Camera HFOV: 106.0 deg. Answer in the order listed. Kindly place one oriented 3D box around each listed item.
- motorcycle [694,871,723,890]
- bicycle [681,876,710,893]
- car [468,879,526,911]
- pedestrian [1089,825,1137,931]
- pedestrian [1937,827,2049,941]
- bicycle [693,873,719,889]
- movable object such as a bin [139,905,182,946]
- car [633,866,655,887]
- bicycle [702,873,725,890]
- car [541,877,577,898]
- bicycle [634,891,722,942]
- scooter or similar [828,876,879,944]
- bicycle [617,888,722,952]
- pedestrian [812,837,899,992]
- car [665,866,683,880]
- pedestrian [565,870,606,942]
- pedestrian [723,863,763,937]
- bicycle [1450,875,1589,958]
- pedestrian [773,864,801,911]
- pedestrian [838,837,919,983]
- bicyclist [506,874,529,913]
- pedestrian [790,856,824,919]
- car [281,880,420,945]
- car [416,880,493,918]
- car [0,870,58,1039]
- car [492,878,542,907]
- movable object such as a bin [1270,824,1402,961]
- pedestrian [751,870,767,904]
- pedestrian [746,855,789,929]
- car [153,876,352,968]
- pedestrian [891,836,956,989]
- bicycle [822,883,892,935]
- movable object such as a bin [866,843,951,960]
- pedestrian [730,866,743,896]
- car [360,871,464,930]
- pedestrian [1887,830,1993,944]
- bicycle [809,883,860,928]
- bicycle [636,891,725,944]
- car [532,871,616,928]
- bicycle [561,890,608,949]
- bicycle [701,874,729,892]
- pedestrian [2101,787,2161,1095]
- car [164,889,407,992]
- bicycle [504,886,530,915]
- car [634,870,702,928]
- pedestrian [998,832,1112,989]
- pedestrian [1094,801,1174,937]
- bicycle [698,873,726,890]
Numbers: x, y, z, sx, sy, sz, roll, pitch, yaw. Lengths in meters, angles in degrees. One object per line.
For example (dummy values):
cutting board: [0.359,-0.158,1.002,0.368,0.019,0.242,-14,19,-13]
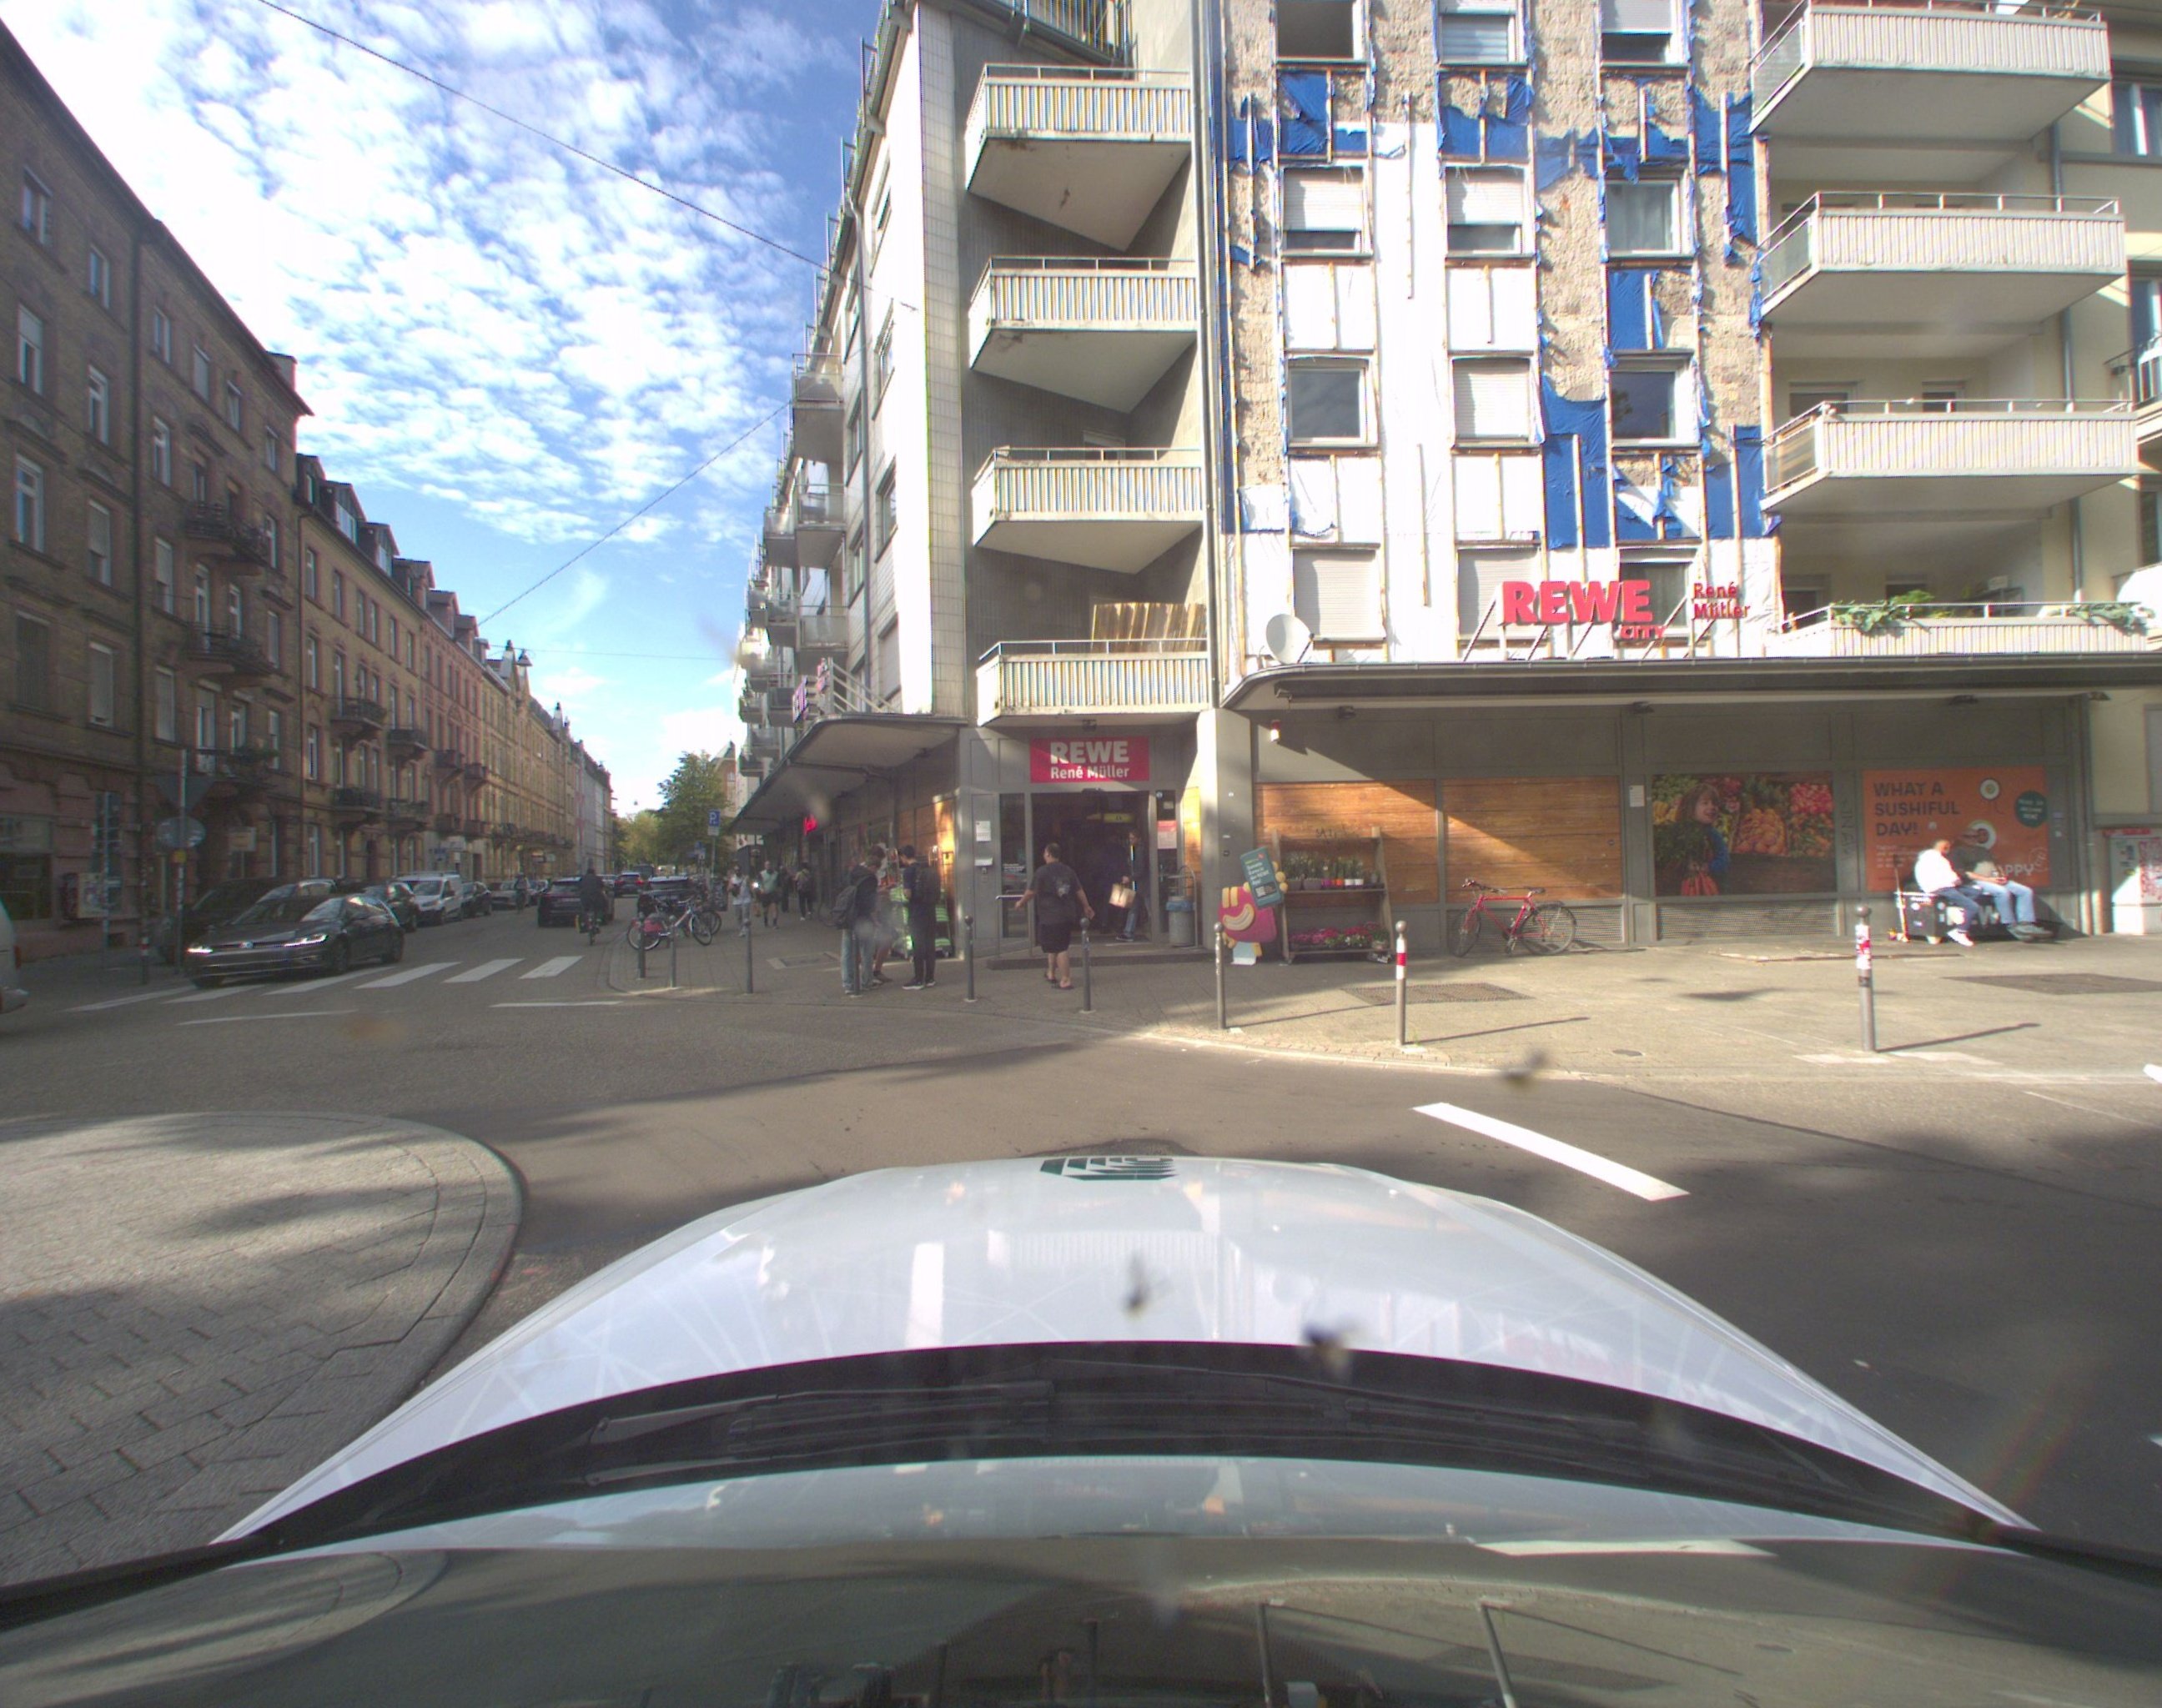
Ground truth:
motorcycle: [-31.858,2.257,69.613,2.159,1.530,0.681,-3,1,-22]
bicycle: [-27.675,2.201,58.504,1.777,1.056,0.407,-4,1,-31]
car: [-30.155,2.090,42.176,1.750,1.483,3.950,0,-1,-25]
pedestrian: [0.558,0.398,14.081,0.760,1.753,0.931,-1,0,3]
pedestrian: [12.608,0.408,11.275,0.665,1.506,0.752,-1,-1,-5]
bicycle: [-29.543,2.111,64.199,1.788,1.159,0.500,-3,1,0]
movable object such as a bin: [-16.848,1.299,14.910,0.385,0.714,0.471,0,-1,-30]
car: [-43.633,2.232,81.283,1.792,2.020,3.853,0,-1,-27]
bicycle: [-27.224,2.045,60.306,1.503,1.146,0.408,-4,1,-26]
car: [-37.336,2.343,58.333,1.698,1.386,3.835,0,-1,-25]
bicycle: [-9.876,1.511,19.988,1.802,1.070,0.580,-4,1,-36]
scooter or similar: [-4.434,1.060,15.855,0.635,1.213,1.244,-3,1,-28]
bicycle: [-8.761,1.383,17.377,1.894,1.125,0.899,-4,1,-28]
pedestrian: [-2.743,0.722,9.976,0.625,1.797,0.718,-3,2,15]
car: [-49.797,2.311,99.668,1.940,1.638,3.966,0,-1,-25]
pedestrian: [-11.837,1.217,19.471,0.721,1.650,0.922,1,-1,-25]
pedestrian: [-8.030,1.073,19.329,0.806,1.671,1.014,-1,-2,-25]
bicycle: [5.838,0.826,10.907,1.521,1.033,0.584,-1,1,8]
pedestrian: [-10.256,1.166,28.372,0.828,1.588,0.774,-2,-1,-24]
pedestrian: [-2.604,0.699,10.510,0.709,1.797,0.634,-3,2,7]
bicyclist: [-25.320,1.762,36.623,0.704,1.678,1.102,1,-2,-28]
pedestrian: [-7.960,0.971,23.630,0.718,1.746,0.809,-4,1,-28]
car: [-21.173,1.630,23.811,2.004,1.638,4.108,0,-1,-27]
car: [-26.057,1.856,33.999,1.751,1.484,3.948,1,-3,-26]
car: [-12.187,1.090,6.916,1.828,1.791,4.318,-3,0,-8]
car: [-32.226,2.161,46.632,1.750,1.483,3.950,0,-1,-25]
movable object such as a bin: [3.425,0.493,10.992,1.541,1.754,0.690,-1,1,-4]
pedestrian: [-15.486,1.566,39.168,0.647,1.588,0.774,-3,0,-24]
pedestrian: [-8.205,0.968,21.373,0.886,1.834,1.040,-3,0,-18]
car: [-18.299,1.400,18.268,1.769,1.774,4.367,1,-2,-27]
pedestrian: [-1.965,0.693,10.128,0.654,1.797,0.656,-4,2,-13]
bicycle: [-4.882,1.181,17.688,1.712,1.043,0.682,-4,-2,44]
movable object such as a bin: [-2.883,0.730,13.413,0.783,1.744,2.402,-1,-1,-26]
pedestrian: [-20.398,1.614,48.234,0.615,1.726,1.117,-2,0,-25]
car: [-23.819,1.573,29.175,1.930,1.871,4.398,-1,0,-27]
pedestrian: [11.859,0.440,11.260,0.750,1.506,0.666,-1,-1,-7]
bicycle: [-6.255,1.270,20.613,0.746,1.015,1.765,-4,0,-32]
bicycle: [-9.531,1.493,19.404,1.802,1.070,0.563,-4,1,-36]
car: [-17.006,1.486,27.502,1.975,1.741,4.007,-1,-2,-25]
bicycle: [-11.793,1.515,19.393,0.721,1.274,1.868,1,-1,-25]
bicycle: [-26.349,2.094,58.713,1.774,1.162,0.645,-4,1,-24]
pedestrian: [6.510,0.489,4.575,0.615,1.753,0.835,-1,-1,-27]
car: [-13.800,1.398,14.457,1.800,1.438,3.967,-3,-1,-25]
bicycle: [-25.262,2.069,36.504,0.704,1.220,2.097,1,-1,-28]
car: [-13.603,1.416,27.010,1.802,1.605,3.891,-4,1,-25]
pedestrian: [-0.326,0.641,9.880,0.856,1.746,1.037,-4,1,-36]
pedestrian: [0.838,0.229,12.648,1.023,2.013,0.867,-2,1,14]
bicycle: [-27.527,2.063,60.752,1.778,1.146,0.407,-4,1,-32]
